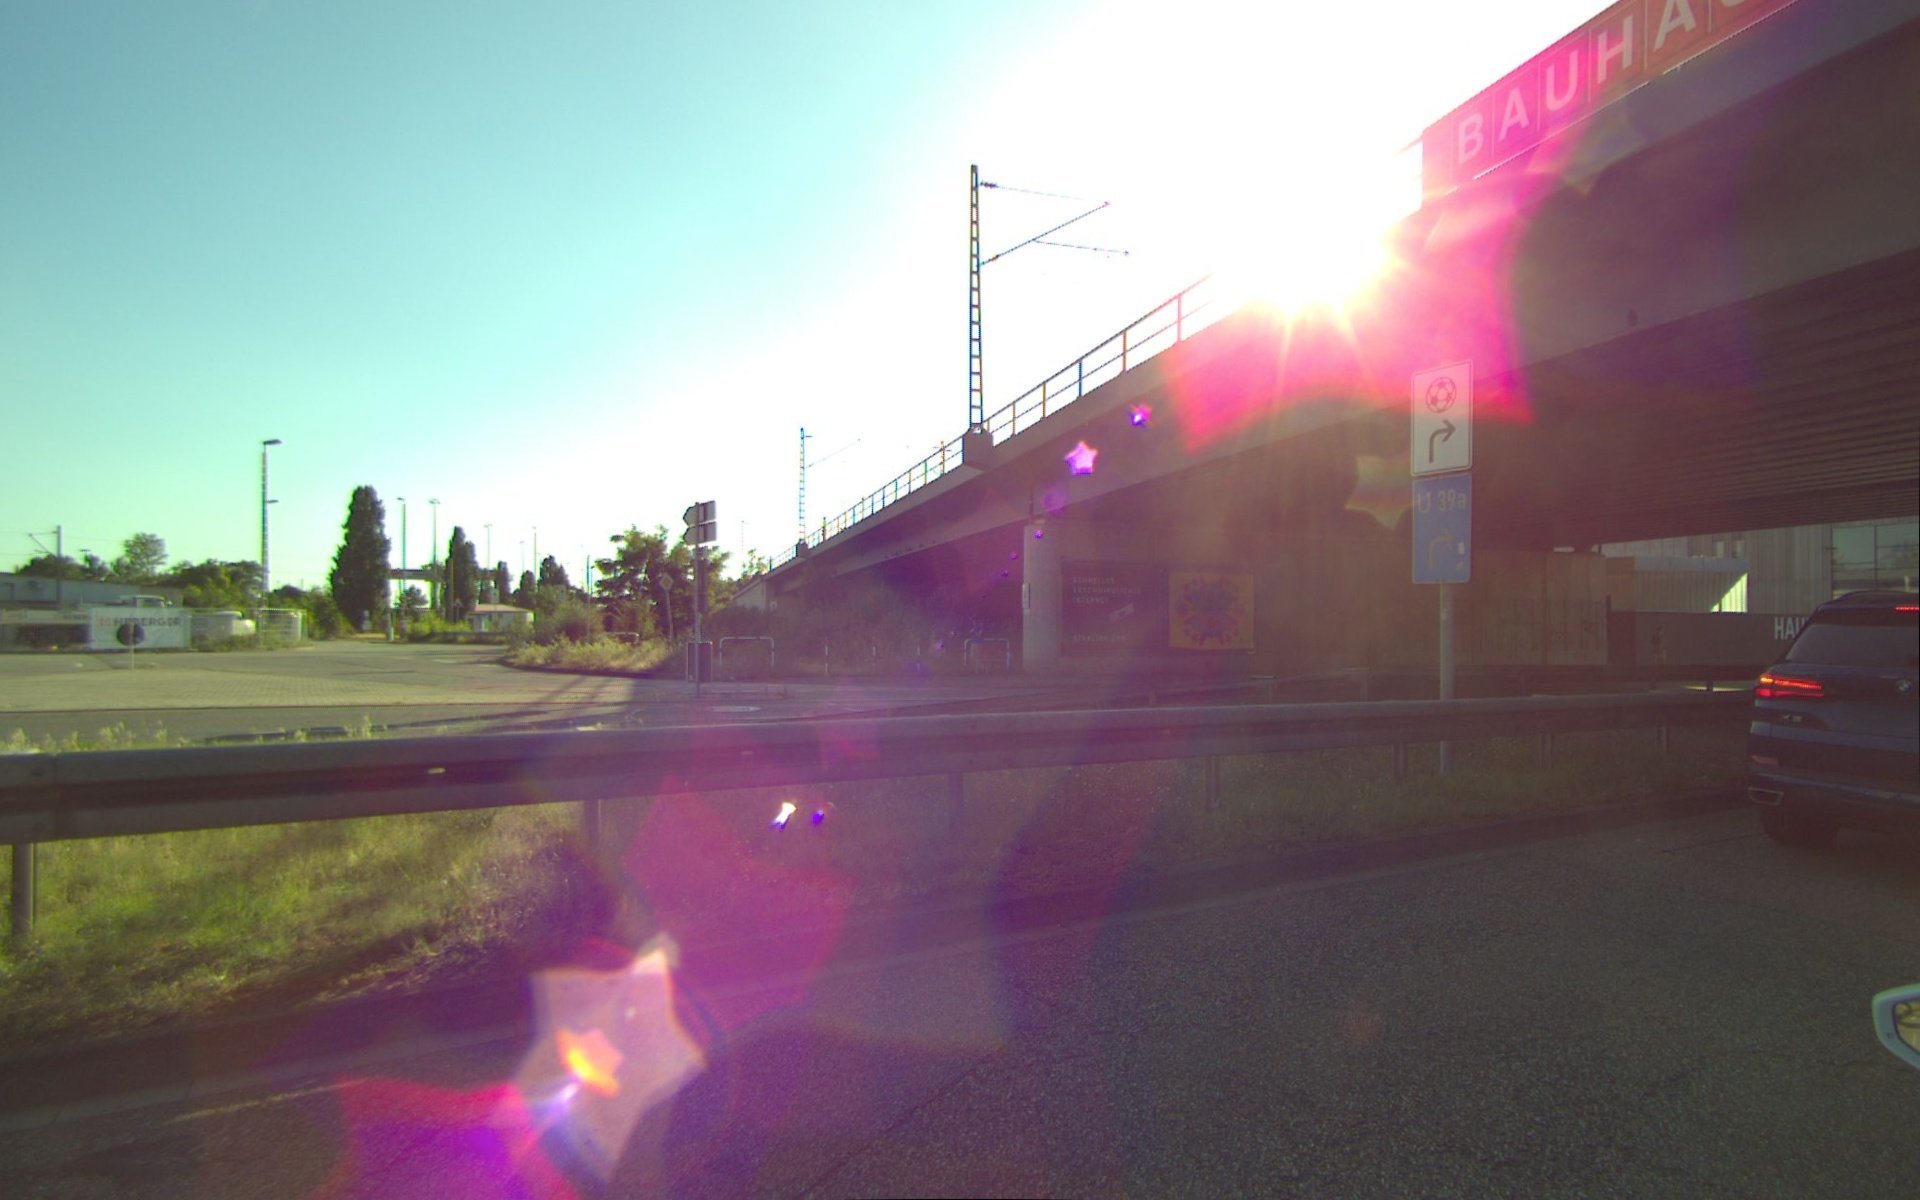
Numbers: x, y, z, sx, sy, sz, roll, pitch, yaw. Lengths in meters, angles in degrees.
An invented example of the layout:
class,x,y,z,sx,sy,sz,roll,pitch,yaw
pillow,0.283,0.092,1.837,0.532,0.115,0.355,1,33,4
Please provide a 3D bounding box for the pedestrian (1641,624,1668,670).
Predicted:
class,x,y,z,sx,sy,sz,roll,pitch,yaw
pedestrian,29.434,1.989,42.597,0.656,1.928,0.692,2,-1,-25

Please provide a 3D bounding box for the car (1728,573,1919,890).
class,x,y,z,sx,sy,sz,roll,pitch,yaw
car,7.266,0.821,6.713,4.408,1.761,1.821,3,-2,-29

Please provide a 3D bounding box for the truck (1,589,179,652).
class,x,y,z,sx,sy,sz,roll,pitch,yaw
truck,-46.744,1.176,54.218,2.393,3.186,6.775,1,-2,25
